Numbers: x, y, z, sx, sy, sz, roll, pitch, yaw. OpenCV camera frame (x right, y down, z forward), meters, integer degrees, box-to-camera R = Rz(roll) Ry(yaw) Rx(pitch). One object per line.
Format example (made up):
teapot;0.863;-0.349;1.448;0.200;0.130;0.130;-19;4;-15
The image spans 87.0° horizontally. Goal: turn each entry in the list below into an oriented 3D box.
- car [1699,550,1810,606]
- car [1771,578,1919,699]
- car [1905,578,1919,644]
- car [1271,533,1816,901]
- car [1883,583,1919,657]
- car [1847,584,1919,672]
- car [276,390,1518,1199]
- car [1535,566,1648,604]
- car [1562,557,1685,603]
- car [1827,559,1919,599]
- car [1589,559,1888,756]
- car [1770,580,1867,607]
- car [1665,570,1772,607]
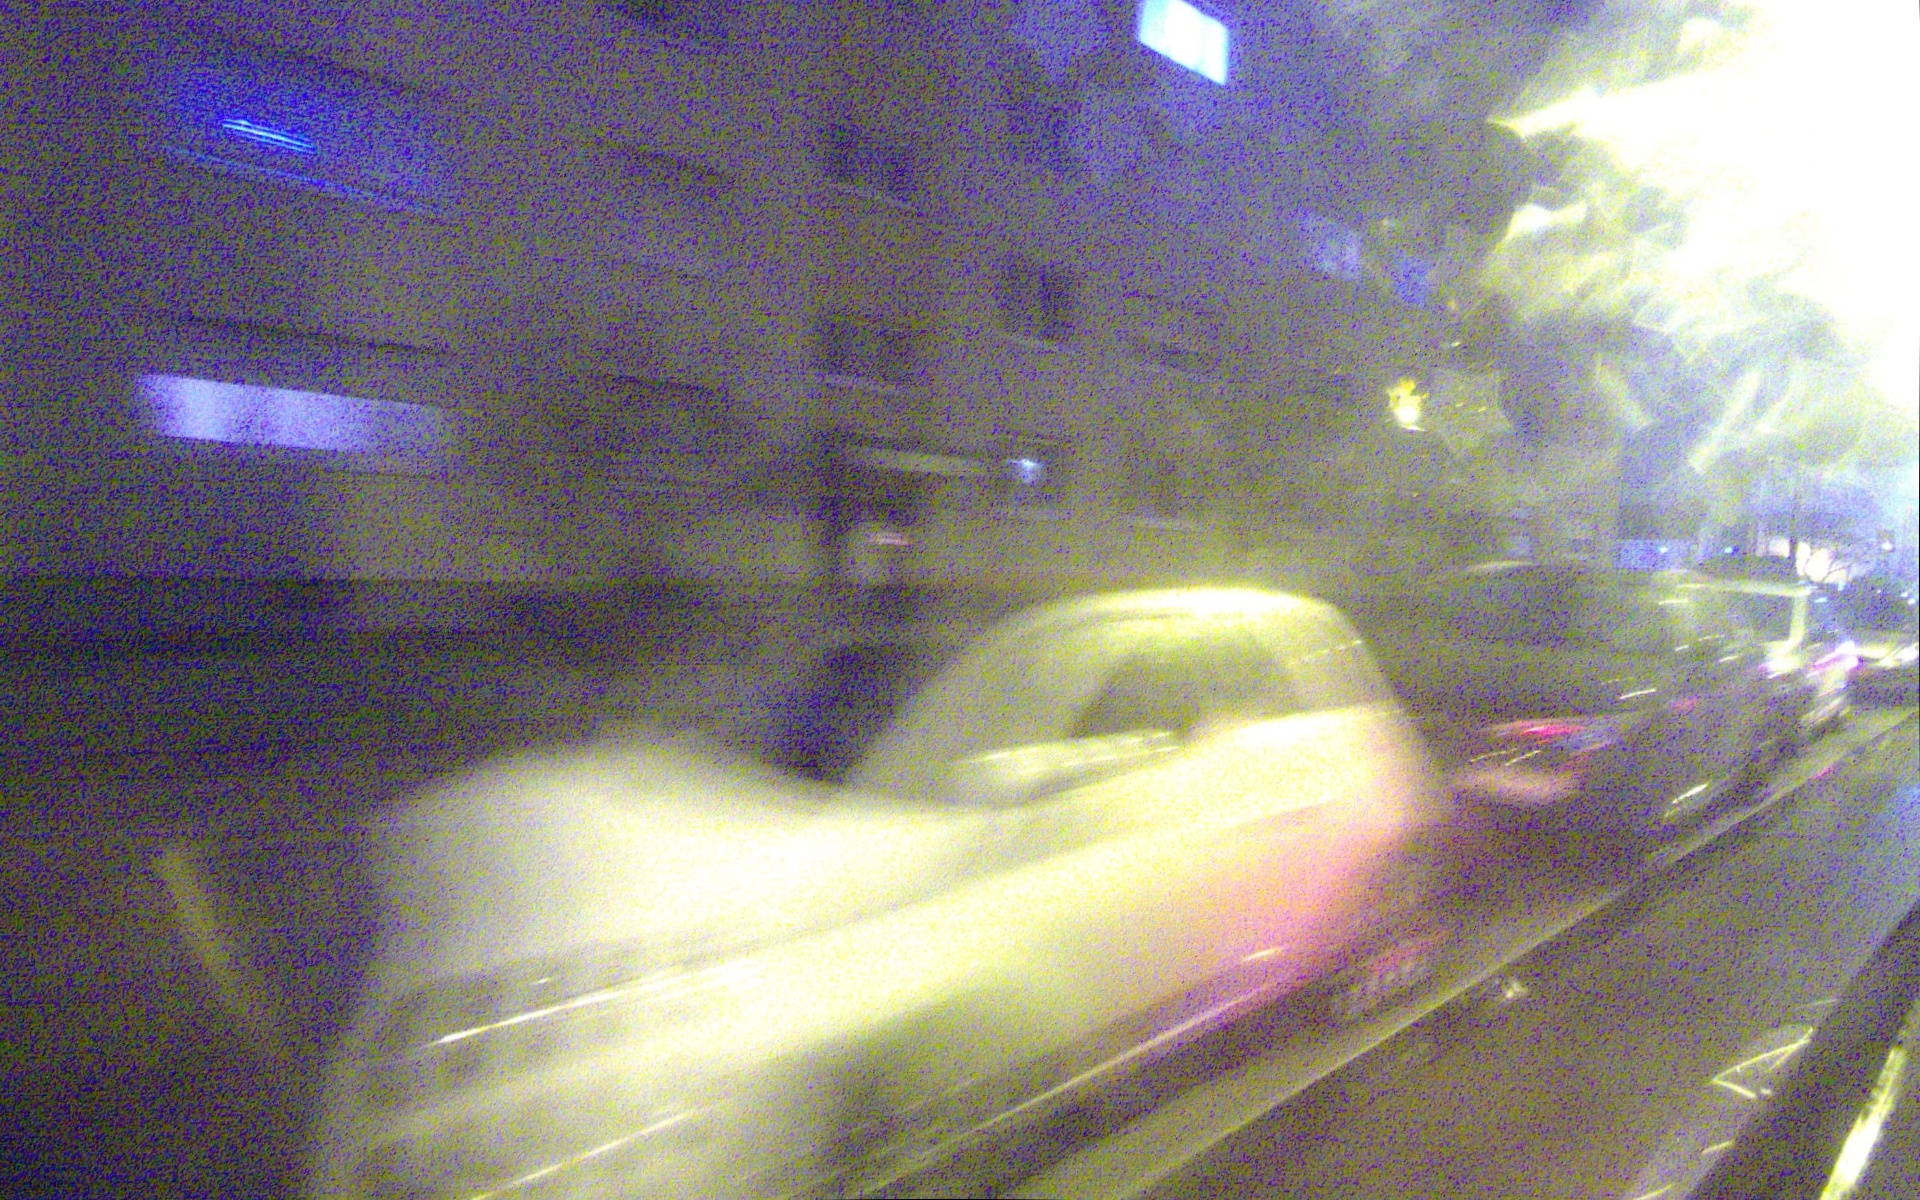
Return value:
car;40.937;-1.156;52.218;1.767;2.650;4.031;1;3;-34
car;13.471;0.505;14.925;3.886;1.491;1.798;0;4;-44
car;25.219;0.344;25.214;4.699;1.566;1.800;1;3;-40
car;4.169;0.489;6.806;4.668;1.598;1.870;0;4;-44
car;21.511;0.455;22.153;3.886;1.491;1.606;0;4;-44
car;18.164;0.521;19.095;3.883;1.491;1.607;1;4;-42
car;0.192;0.438;3.406;3.886;1.566;1.798;0;4;-44
car;26.474;-0.653;42.523;1.636;1.357;3.664;1;4;-40
car;28.694;-0.893;43.875;1.635;1.727;4.095;1;3;-37
car;55.702;-1.295;61.568;1.767;2.195;4.031;1;3;-34
car;8.113;0.464;10.424;3.886;1.566;1.798;0;4;-44
car;50.799;-0.410;59.961;1.767;1.283;4.031;1;3;-34
car;35.464;-0.531;47.354;1.636;1.474;3.664;1;4;-40
